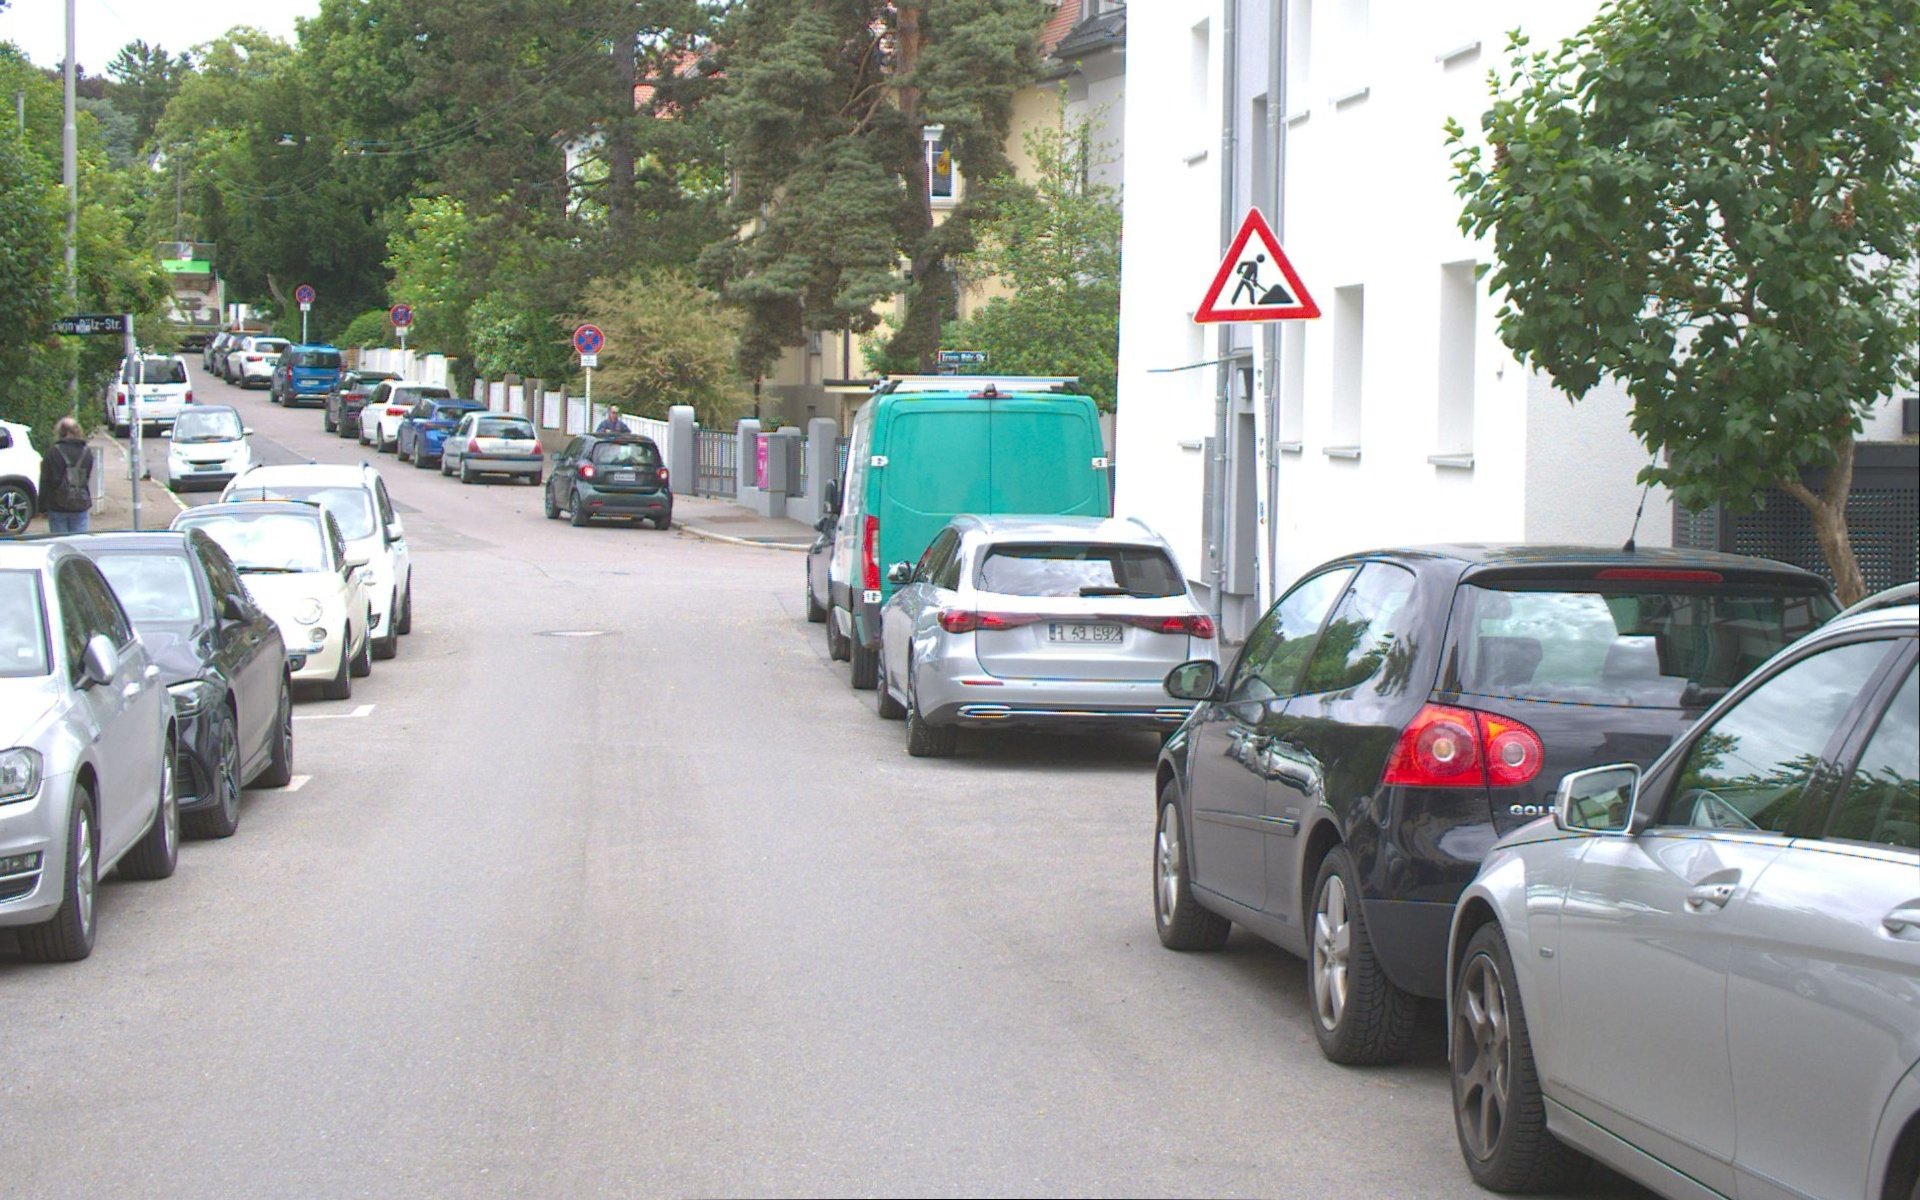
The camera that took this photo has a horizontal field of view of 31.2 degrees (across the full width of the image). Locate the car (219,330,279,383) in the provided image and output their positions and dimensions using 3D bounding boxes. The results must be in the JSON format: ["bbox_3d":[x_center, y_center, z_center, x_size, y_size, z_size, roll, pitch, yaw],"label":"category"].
[{"bbox_3d":[-22.628,-7.767,109.339,1.634,1.532,3.532,1,5,-15],"label":"car"}]

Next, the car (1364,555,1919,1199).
[{"bbox_3d":[2.194,0.686,6.384,1.818,1.437,4.452,1,1,-7],"label":"car"}]

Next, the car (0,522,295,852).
[{"bbox_3d":[-4.365,0.354,17.627,1.596,1.473,3.992,-1,2,-7],"label":"car"}]

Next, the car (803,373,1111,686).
[{"bbox_3d":[-0.115,-0.617,28.161,1.980,2.354,4.278,0,2,-7],"label":"car"}]

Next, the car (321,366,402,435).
[{"bbox_3d":[-14.882,-4.963,85.415,1.634,1.532,3.532,1,5,-15],"label":"car"}]

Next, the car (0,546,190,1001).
[{"bbox_3d":[-3.932,0.534,12.907,1.642,1.412,3.985,-1,2,-7],"label":"car"}]

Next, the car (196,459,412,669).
[{"bbox_3d":[-5.927,-0.386,31.399,1.672,1.651,3.865,-1,4,-7],"label":"car"}]

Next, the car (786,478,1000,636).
[{"bbox_3d":[-0.728,-0.470,34.380,1.724,1.443,3.882,0,2,-7],"label":"car"}]

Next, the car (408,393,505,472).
[{"bbox_3d":[-10.856,-3.625,73.990,1.634,1.478,3.532,1,5,-15],"label":"car"}]

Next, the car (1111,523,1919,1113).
[{"bbox_3d":[1.660,0.539,10.954,1.689,1.514,3.882,1,1,-7],"label":"car"}]

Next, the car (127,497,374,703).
[{"bbox_3d":[-5.495,-0.059,26.976,1.596,1.408,3.664,-1,3,-7],"label":"car"}]

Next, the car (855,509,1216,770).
[{"bbox_3d":[0.383,0.183,21.832,1.724,1.443,3.882,0,2,-7],"label":"car"}]

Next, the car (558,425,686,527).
[{"bbox_3d":[-5.744,-2.126,58.124,1.634,1.478,3.532,1,5,-14],"label":"car"}]

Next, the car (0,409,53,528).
[{"bbox_3d":[-14.949,-1.841,46.851,1.998,1.634,4.803,3,2,36],"label":"car"}]

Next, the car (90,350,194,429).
[{"bbox_3d":[-20.126,-5.193,84.454,1.903,1.870,4.597,-2,5,-20],"label":"car"}]

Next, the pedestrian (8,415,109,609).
[{"bbox_3d":[-9.134,-0.897,34.863,0.791,1.926,0.919,1,2,-4],"label":"pedestrian"}]

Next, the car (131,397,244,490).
[{"bbox_3d":[-14.927,-3.048,66.318,1.672,1.651,3.865,-2,5,-19],"label":"car"}]

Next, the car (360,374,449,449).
[{"bbox_3d":[-12.923,-4.393,79.821,1.634,1.532,3.532,1,5,-15],"label":"car"}]

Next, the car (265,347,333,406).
[{"bbox_3d":[-19.115,-6.461,99.278,1.634,1.532,3.532,1,5,-15],"label":"car"}]

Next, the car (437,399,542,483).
[{"bbox_3d":[-9.530,-3.221,69.449,1.634,1.478,3.532,1,5,-15],"label":"car"}]
